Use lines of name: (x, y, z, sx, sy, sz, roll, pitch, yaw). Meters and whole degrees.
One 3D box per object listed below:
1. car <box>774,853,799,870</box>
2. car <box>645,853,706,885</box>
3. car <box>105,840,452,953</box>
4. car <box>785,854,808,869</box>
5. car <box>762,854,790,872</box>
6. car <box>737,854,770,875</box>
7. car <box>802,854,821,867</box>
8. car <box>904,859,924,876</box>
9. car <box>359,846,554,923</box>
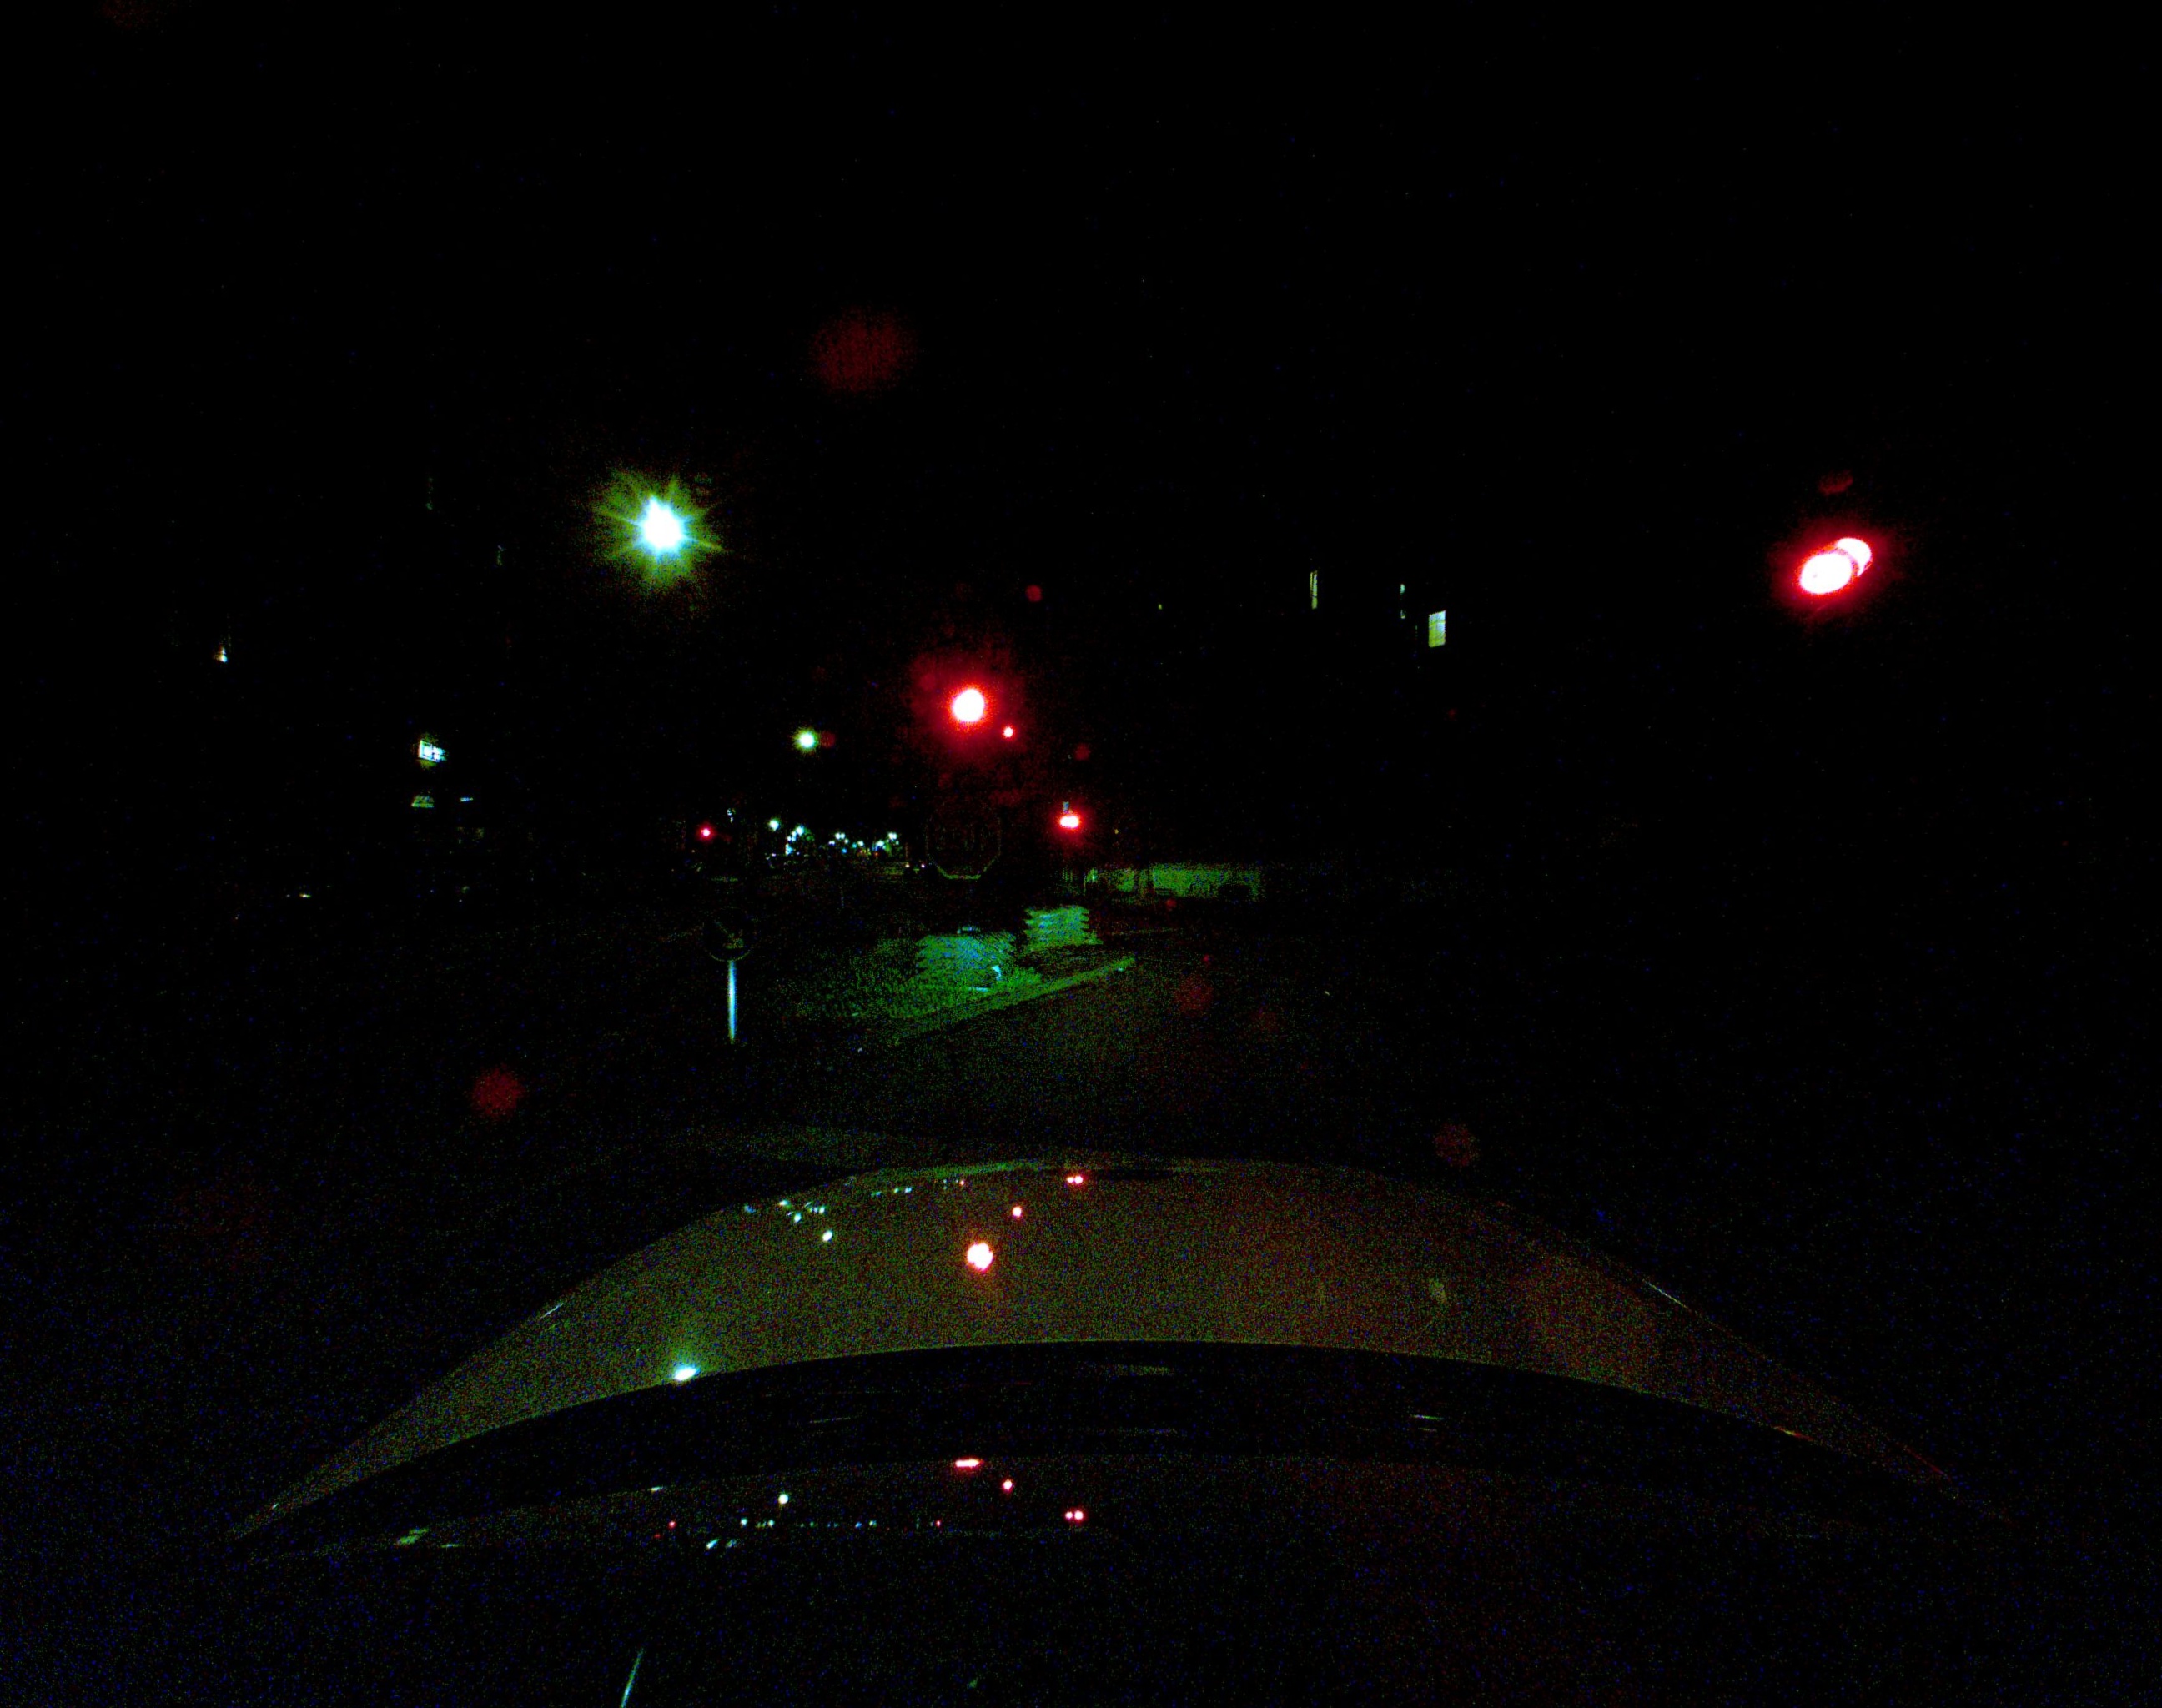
car: (-26.459, 0.688, 73.240, 1.653, 1.431, 3.982, 1, 0, -13)
car: (-19.012, 0.674, 38.339, 1.653, 1.431, 3.982, 1, 0, -13)
car: (-12.594, 0.593, 13.302, 1.901, 1.471, 4.432, 3, -1, -13)
car: (-27.890, 0.756, 79.845, 1.653, 1.431, 3.982, 1, 0, -13)
car: (-25.180, 0.762, 67.290, 1.653, 1.431, 3.982, 1, 0, -13)
car: (-23.749, 0.751, 59.155, 1.653, 1.431, 3.982, 1, 0, -13)
car: (-30.854, 0.770, 93.197, 1.653, 1.431, 3.982, 1, 0, -13)
car: (-14.864, 1.169, 72.421, 1.652, 1.431, 3.984, 1, 0, -12)
car: (-13.627, 0.628, 18.121, 1.806, 1.481, 4.302, 1, -1, -14)
